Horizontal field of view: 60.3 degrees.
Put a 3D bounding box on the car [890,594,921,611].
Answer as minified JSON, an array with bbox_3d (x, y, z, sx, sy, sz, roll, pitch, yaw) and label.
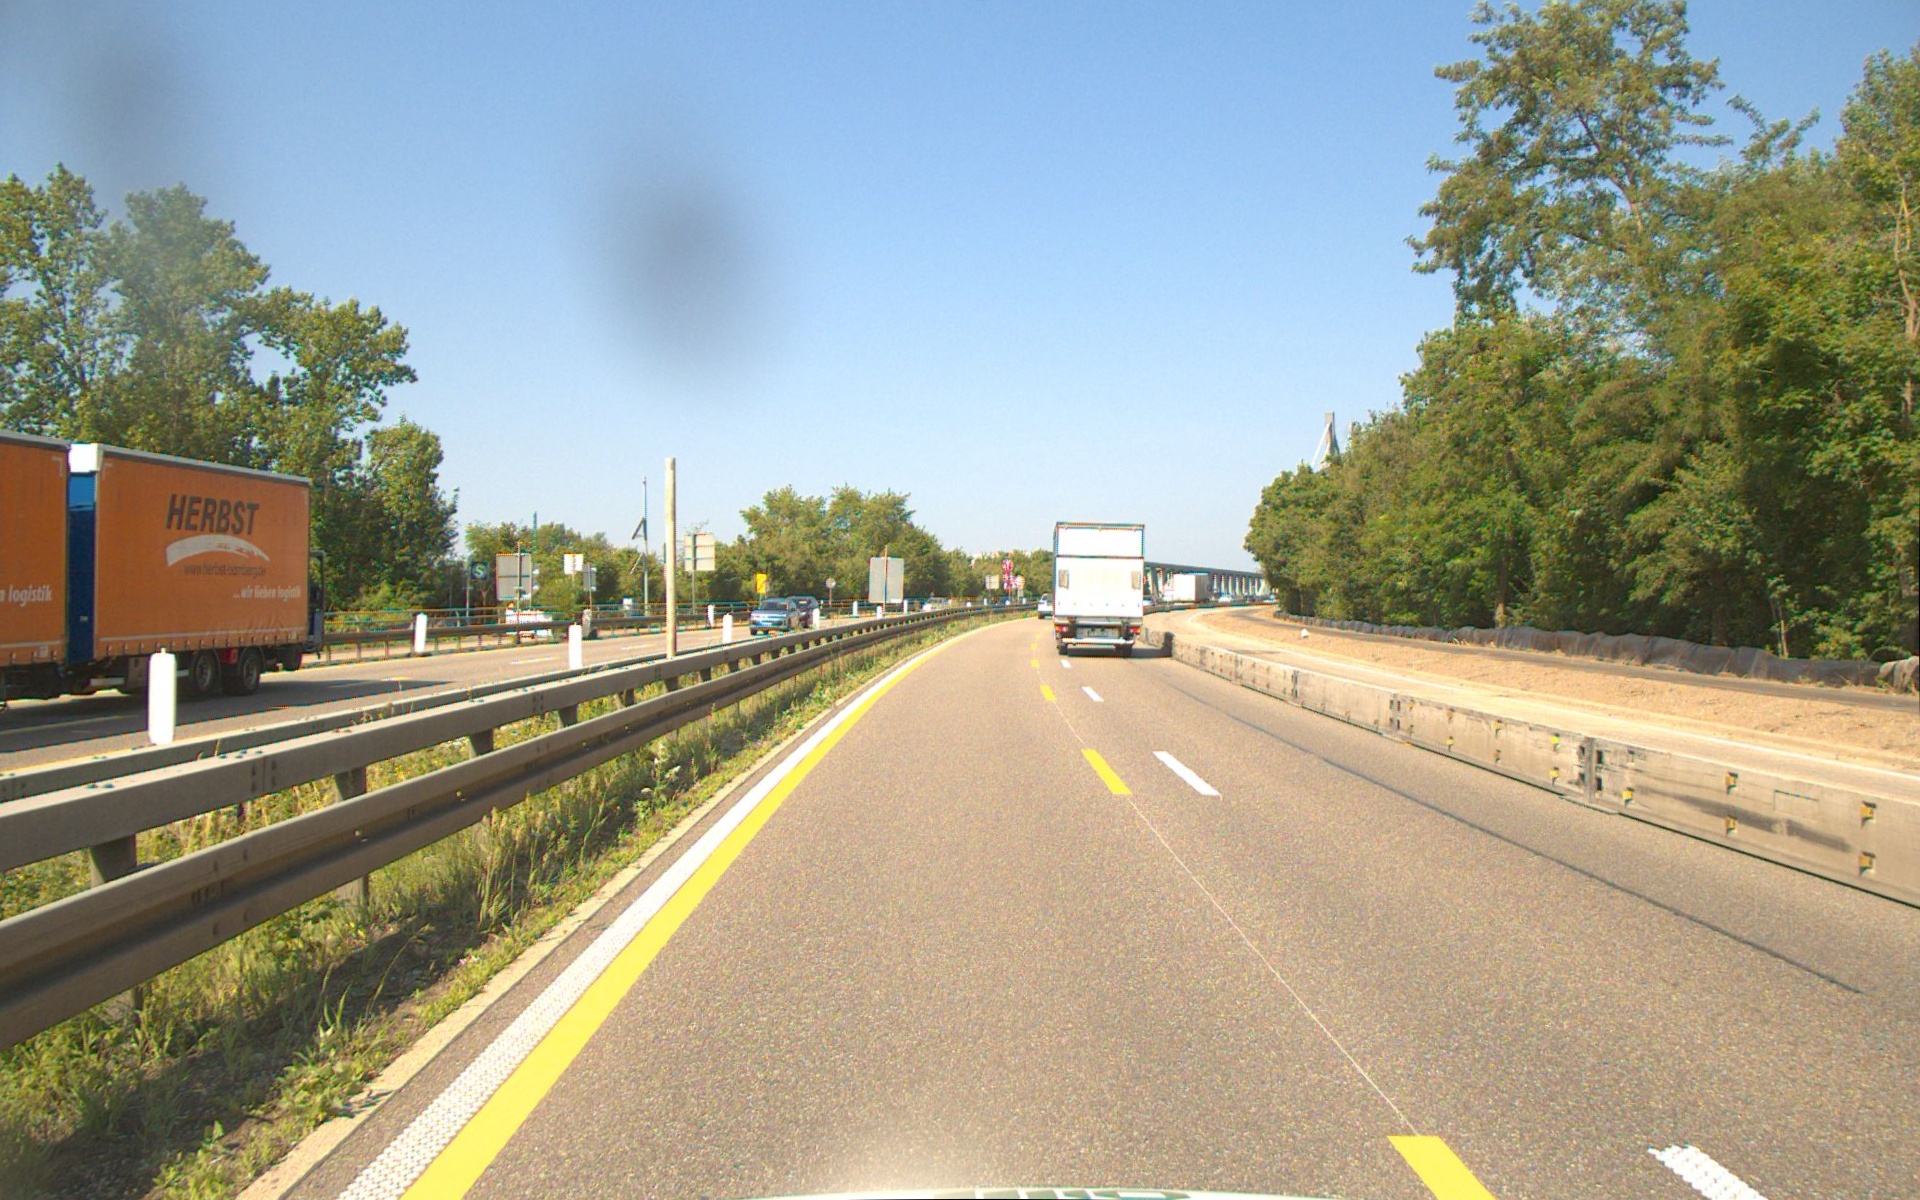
[{"bbox_3d":[-4.827,0.169,146.796,1.844,1.445,4.863,-1,0,9],"label":"car"}]

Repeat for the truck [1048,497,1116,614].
[{"bbox_3d":[5.090,-1.781,68.401,2.579,4.547,7.237,1,0,5],"label":"truck"}]

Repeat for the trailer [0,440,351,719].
[{"bbox_3d":[-14.339,-0.376,29.712,2.975,4.162,9.790,1,1,1],"label":"trailer"}]

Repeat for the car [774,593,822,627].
[{"bbox_3d":[-9.188,0.547,94.172,1.869,1.765,5.023,-1,0,4],"label":"car"}]

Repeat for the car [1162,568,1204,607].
[{"bbox_3d":[26.861,-1.548,198.938,4.117,4.325,10.671,-2,1,12],"label":"car"}]

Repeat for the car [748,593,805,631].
[{"bbox_3d":[-8.632,0.540,78.015,1.869,1.680,4.379,-1,0,4],"label":"car"}]

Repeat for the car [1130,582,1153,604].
[{"bbox_3d":[17.512,-0.664,159.361,1.951,2.048,4.004,-2,1,8],"label":"car"}]

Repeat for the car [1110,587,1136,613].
[{"bbox_3d":[13.507,-0.003,136.802,1.951,2.048,4.004,-2,1,8],"label":"car"}]

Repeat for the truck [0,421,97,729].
[{"bbox_3d":[-14.524,-0.317,19.456,2.975,4.162,10.626,1,1,1],"label":"truck"}]

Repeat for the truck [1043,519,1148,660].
[{"bbox_3d":[3.790,-0.290,45.329,2.578,3.487,7.238,1,0,6],"label":"truck"}]
